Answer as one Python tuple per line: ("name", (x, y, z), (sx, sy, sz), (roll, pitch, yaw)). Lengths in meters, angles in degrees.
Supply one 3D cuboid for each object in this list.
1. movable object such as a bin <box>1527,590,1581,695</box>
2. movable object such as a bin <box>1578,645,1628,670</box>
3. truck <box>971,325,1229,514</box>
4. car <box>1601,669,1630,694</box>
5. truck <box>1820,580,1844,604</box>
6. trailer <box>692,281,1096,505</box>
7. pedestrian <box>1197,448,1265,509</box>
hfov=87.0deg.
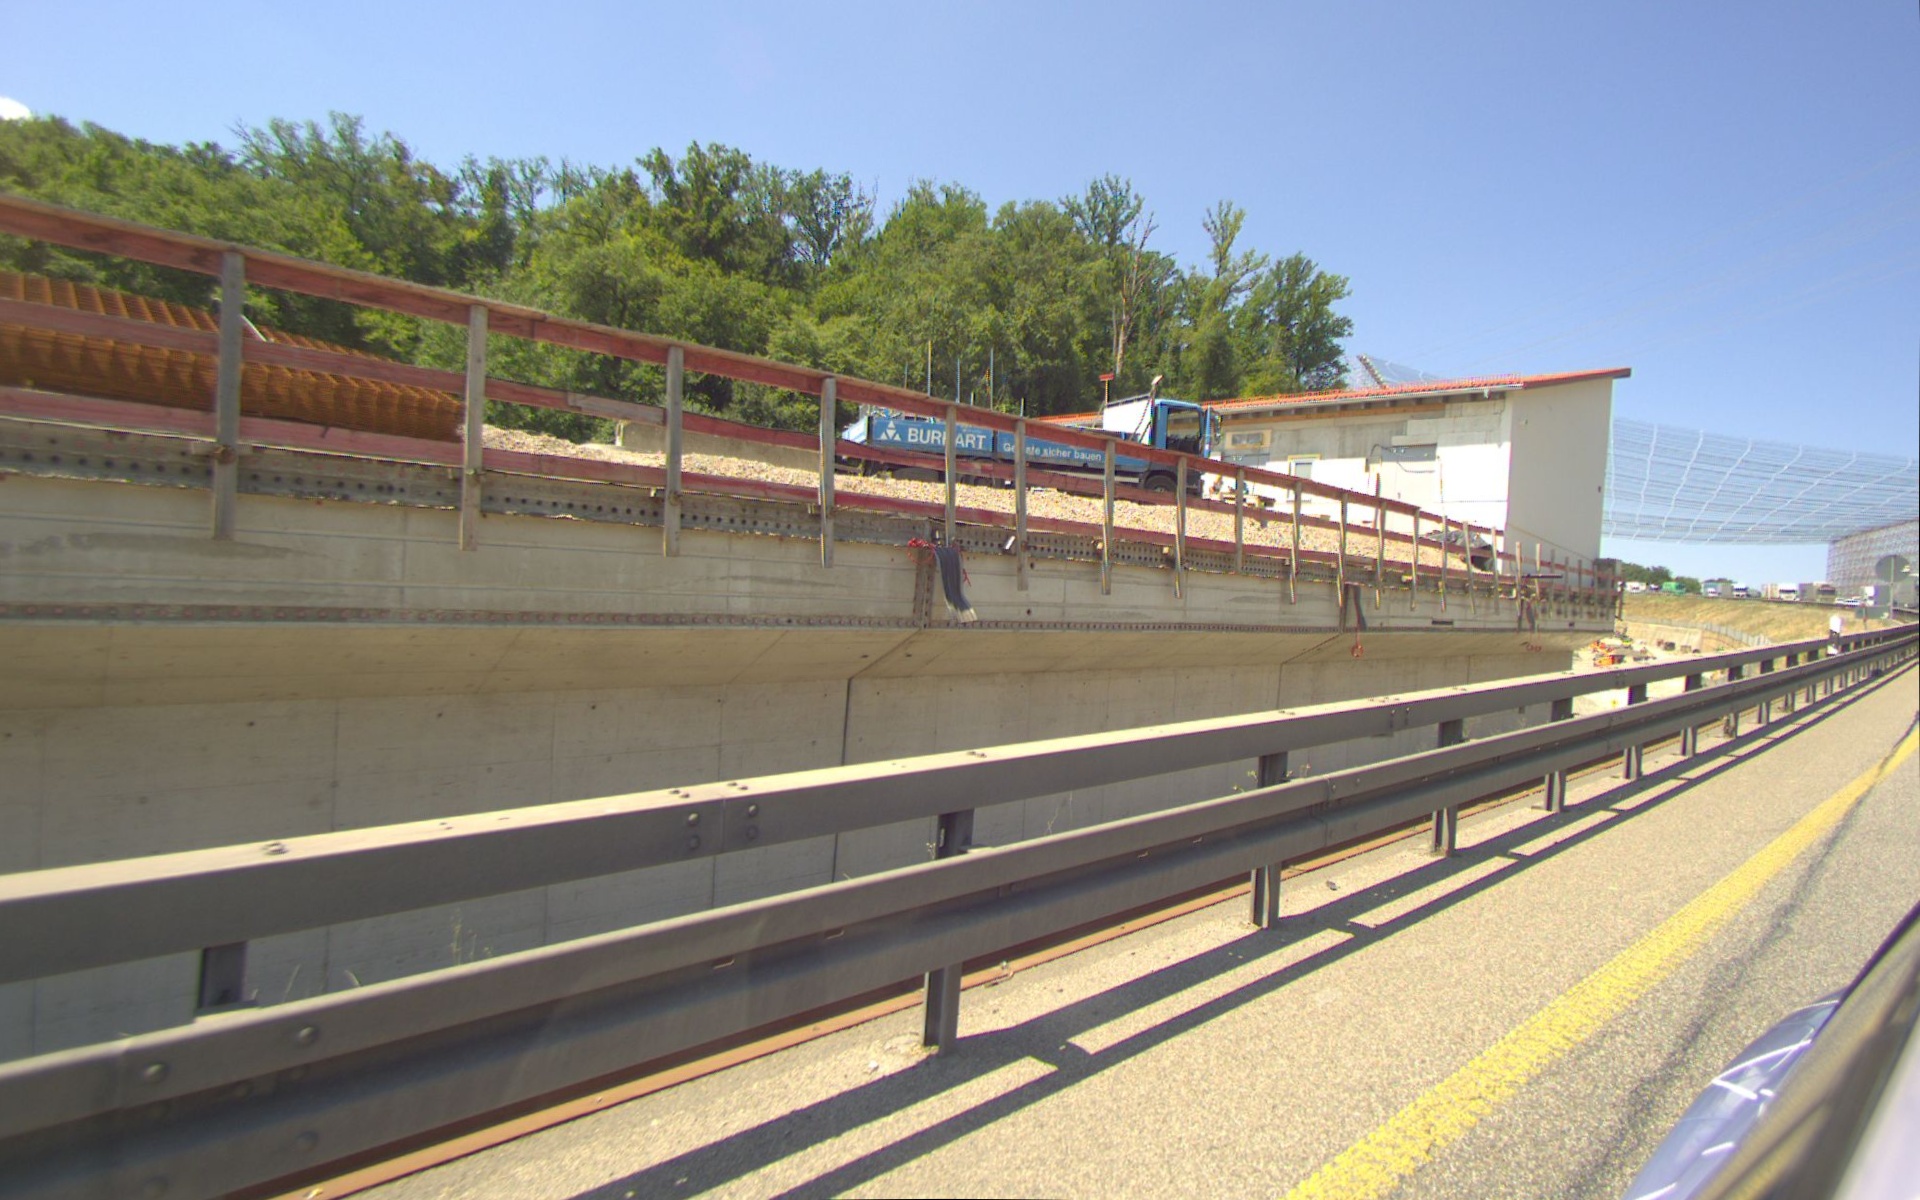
("movable object such as a bin", (44.609, 3.009, 75.900), (2.917, 7.445, 6.160), (0, 1, 36))
("movable object such as a bin", (78.504, 7.026, 123.740), (2.175, 2.669, 5.508), (0, 1, -6))
("truck", (3.451, -4.301, 25.276), (5.590, 3.741, 2.725), (3, -1, -19))
("car", (64.109, 7.938, 98.918), (1.990, 2.039, 3.943), (0, 1, 39))
("truck", (148.113, -1.404, 171.976), (3.029, 4.107, 8.550), (0, 1, 40))
("trailer", (-1.503, -4.511, 23.552), (8.805, 3.741, 2.725), (3, -1, -19))
("pedestrian", (5.796, -2.577, 21.656), (0.976, 1.165, 1.023), (-1, 1, -36))
